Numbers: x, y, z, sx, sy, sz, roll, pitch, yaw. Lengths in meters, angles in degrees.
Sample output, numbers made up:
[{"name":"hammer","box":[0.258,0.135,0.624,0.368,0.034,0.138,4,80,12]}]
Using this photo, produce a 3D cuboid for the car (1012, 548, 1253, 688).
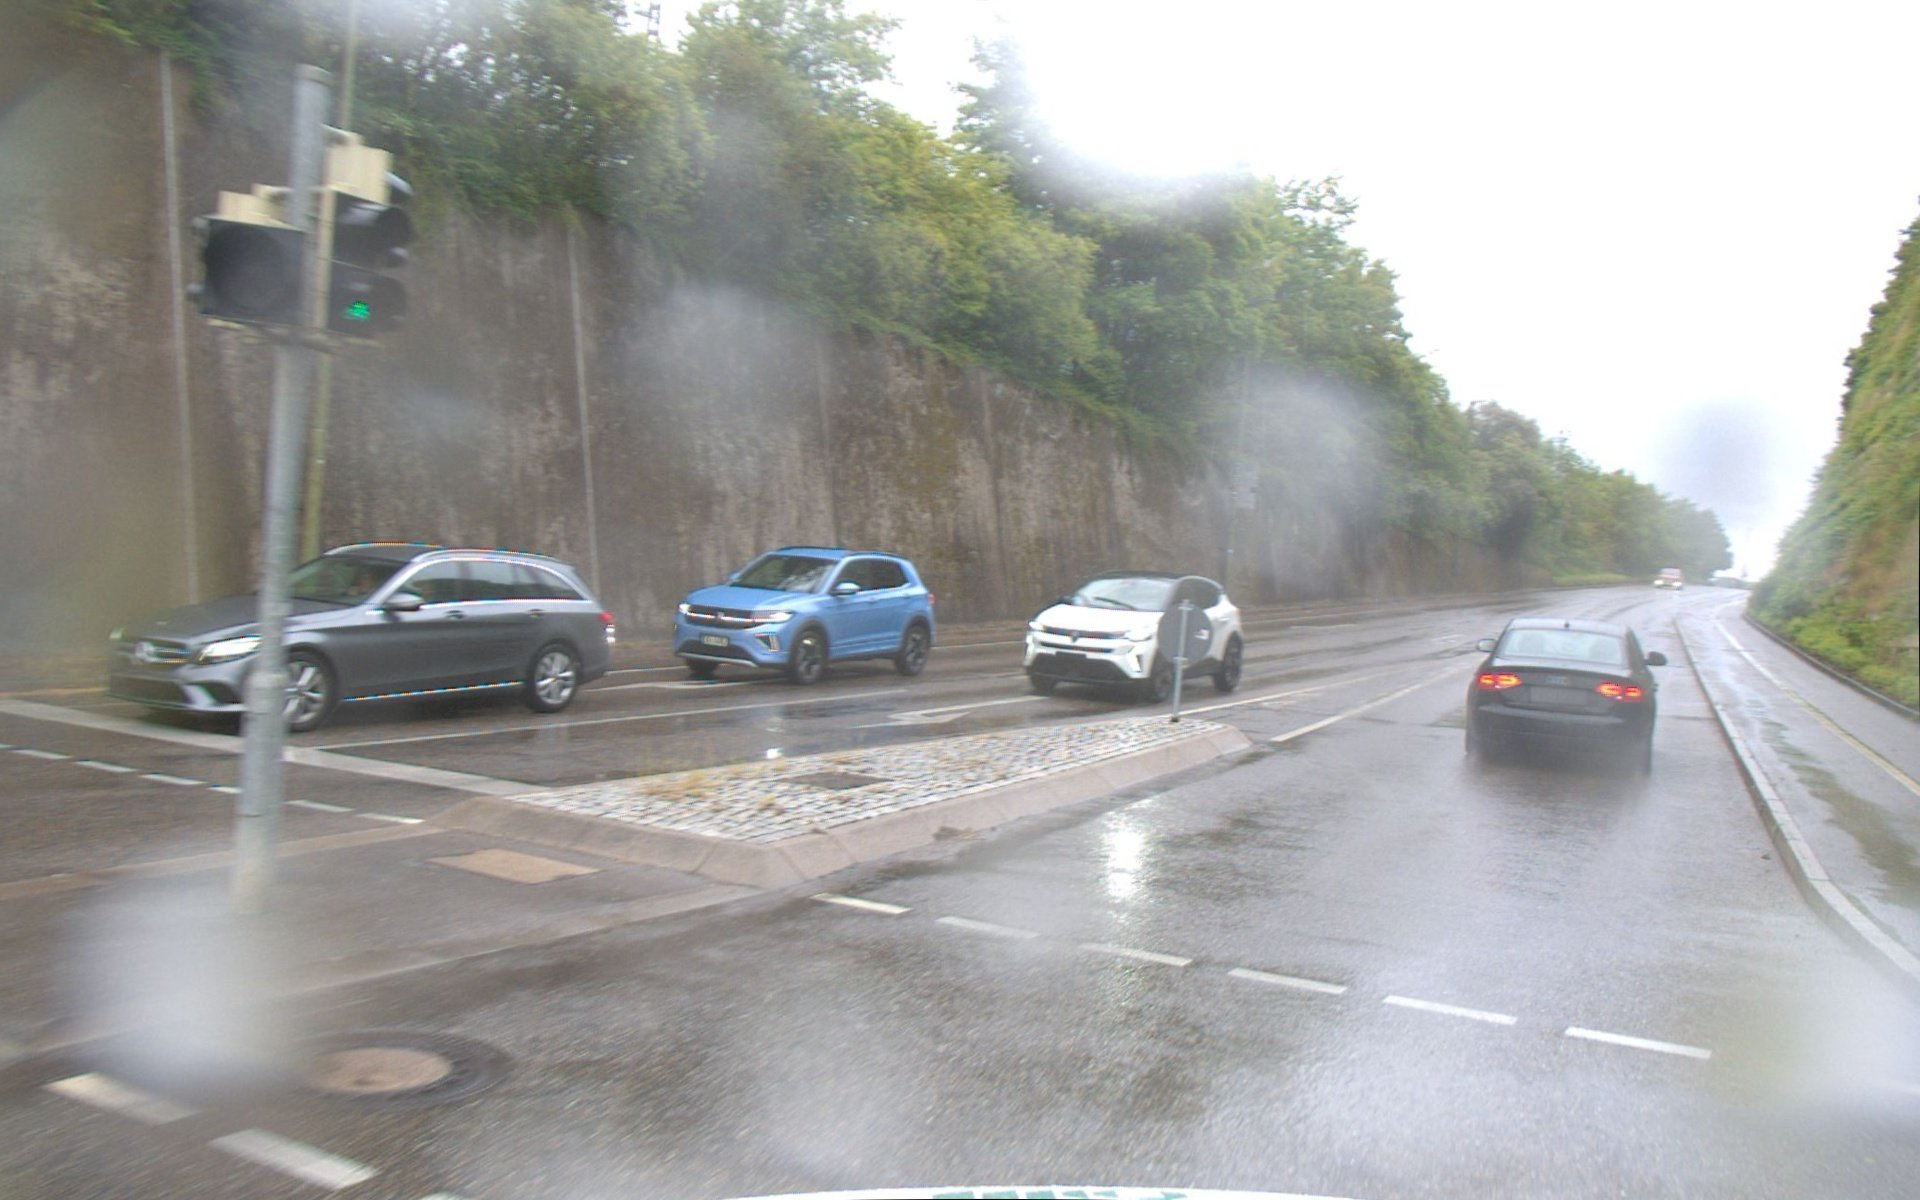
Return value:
[{"name":"car","box":[2.367,0.194,21.715,1.832,1.629,3.996,2,1,27]}]

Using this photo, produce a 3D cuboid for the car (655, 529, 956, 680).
[{"name":"car","box":[-1.833,0.044,20.910,1.781,1.686,4.043,2,1,29]}]

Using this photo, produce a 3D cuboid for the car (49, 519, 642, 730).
[{"name":"car","box":[-5.138,0.161,14.571,1.957,1.529,4.719,2,1,30]}]

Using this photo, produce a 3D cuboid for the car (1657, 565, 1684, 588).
[{"name":"car","box":[55.427,-1.798,129.036,1.699,1.645,3.998,5,2,24]}]

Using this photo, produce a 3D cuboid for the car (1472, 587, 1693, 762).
[{"name":"car","box":[6.490,0.649,17.110,1.854,1.518,4.206,2,1,23]}]
